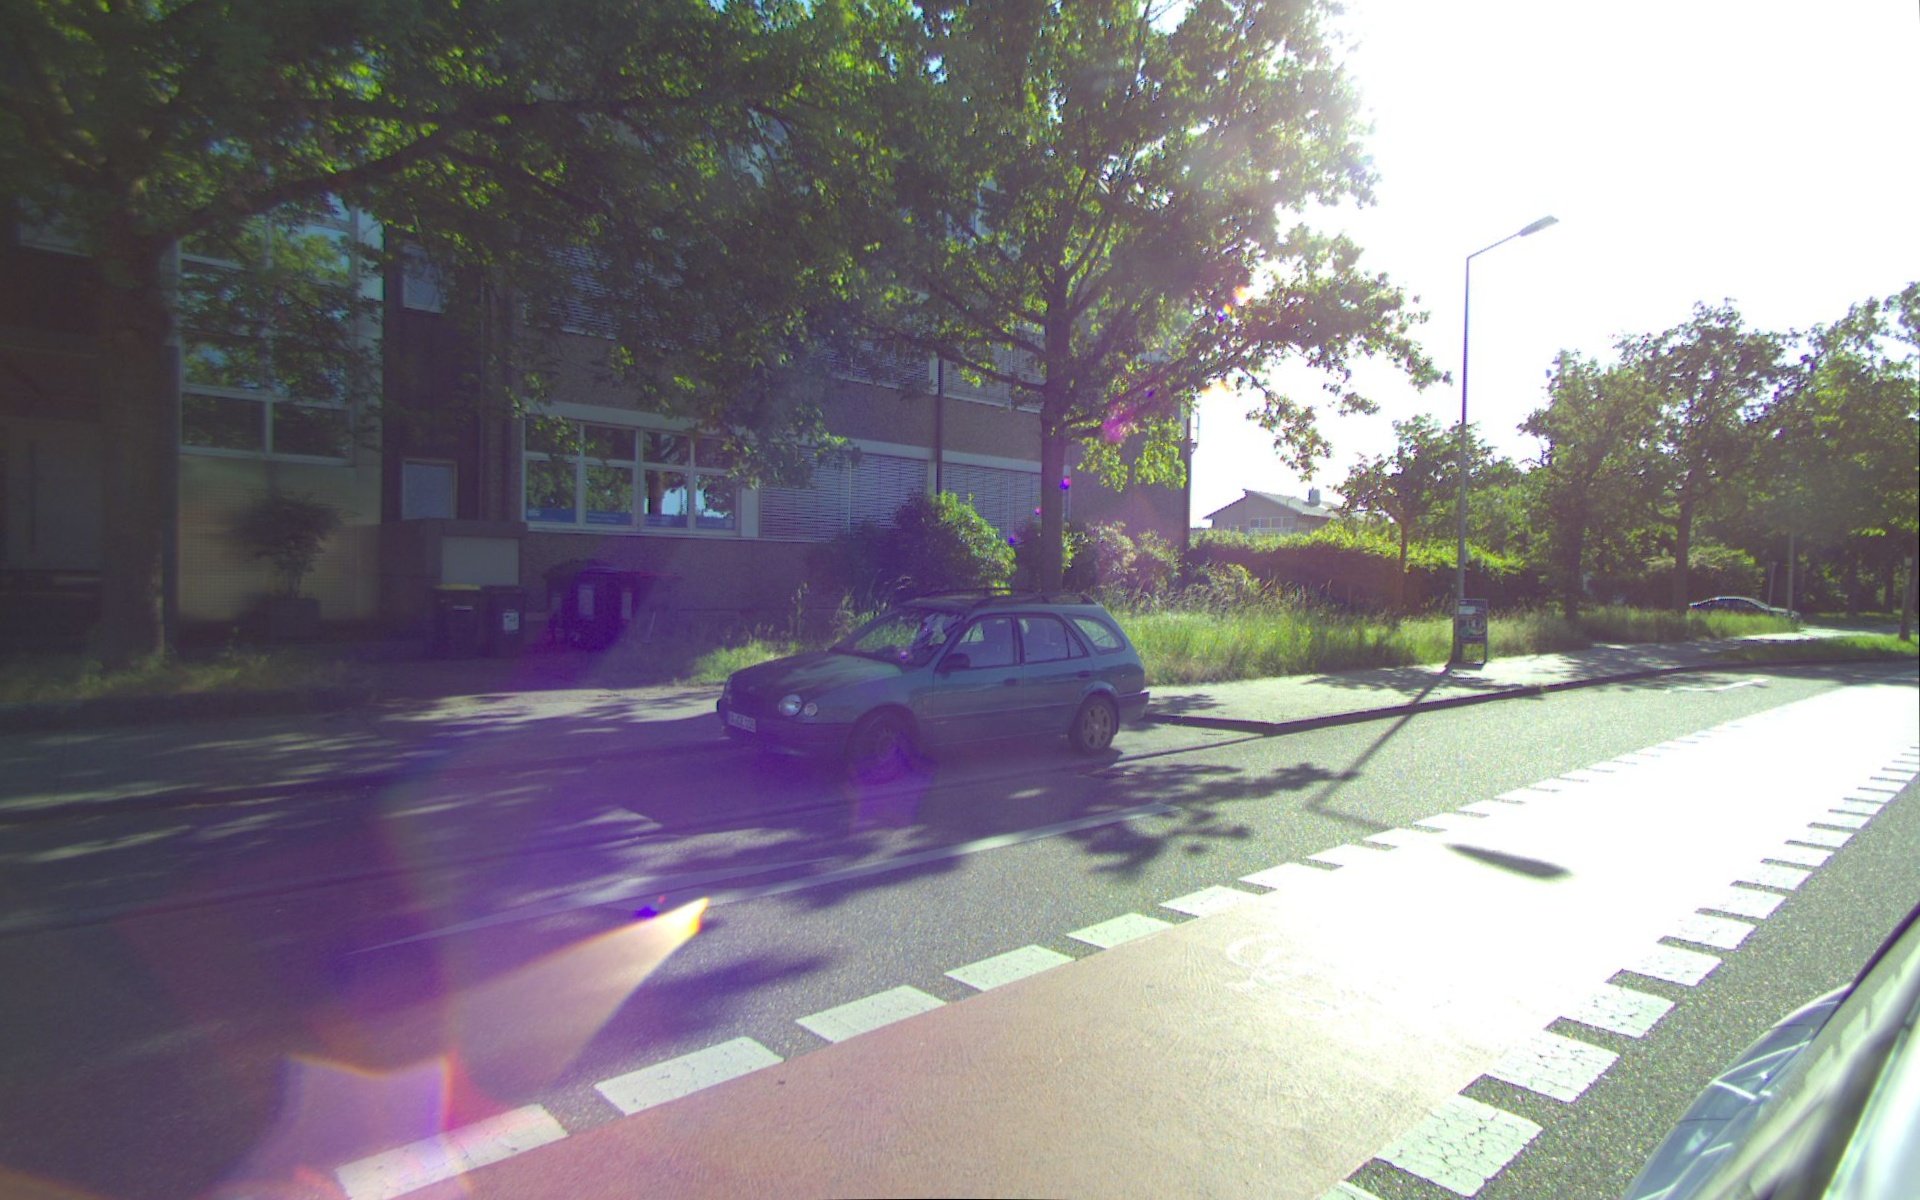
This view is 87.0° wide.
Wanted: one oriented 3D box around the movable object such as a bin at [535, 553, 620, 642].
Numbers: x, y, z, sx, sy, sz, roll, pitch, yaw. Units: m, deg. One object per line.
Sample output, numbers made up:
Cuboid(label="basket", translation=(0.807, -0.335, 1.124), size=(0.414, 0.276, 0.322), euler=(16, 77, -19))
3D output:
Cuboid(label="movable object such as a bin", translation=(-6.786, -0.073, 17.933), size=(1.024, 1.501, 1.309), euler=(0, 2, -41))

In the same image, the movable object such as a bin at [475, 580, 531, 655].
Cuboid(label="movable object such as a bin", translation=(-6.764, 0.240, 14.970), size=(0.604, 1.075, 0.634), euler=(0, 1, -42))

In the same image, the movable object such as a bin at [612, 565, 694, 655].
Cuboid(label="movable object such as a bin", translation=(-4.787, 0.125, 15.766), size=(0.878, 1.323, 1.186), euler=(0, 2, -37))

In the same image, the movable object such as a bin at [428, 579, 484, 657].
Cuboid(label="movable object such as a bin", translation=(-7.220, 0.246, 14.489), size=(0.575, 1.070, 0.625), euler=(0, 1, -42))

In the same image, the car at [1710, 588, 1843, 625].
Cuboid(label="car", translation=(38.251, 0.244, 47.545), size=(1.859, 1.538, 4.495), euler=(0, 2, -29))

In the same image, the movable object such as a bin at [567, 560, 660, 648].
Cuboid(label="movable object such as a bin", translation=(-5.777, 0.043, 16.853), size=(1.070, 1.388, 1.186), euler=(0, 2, -43))

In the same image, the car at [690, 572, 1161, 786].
Cuboid(label="car", translation=(-0.151, 0.575, 9.125), size=(4.068, 1.487, 1.705), euler=(1, 1, -41))
